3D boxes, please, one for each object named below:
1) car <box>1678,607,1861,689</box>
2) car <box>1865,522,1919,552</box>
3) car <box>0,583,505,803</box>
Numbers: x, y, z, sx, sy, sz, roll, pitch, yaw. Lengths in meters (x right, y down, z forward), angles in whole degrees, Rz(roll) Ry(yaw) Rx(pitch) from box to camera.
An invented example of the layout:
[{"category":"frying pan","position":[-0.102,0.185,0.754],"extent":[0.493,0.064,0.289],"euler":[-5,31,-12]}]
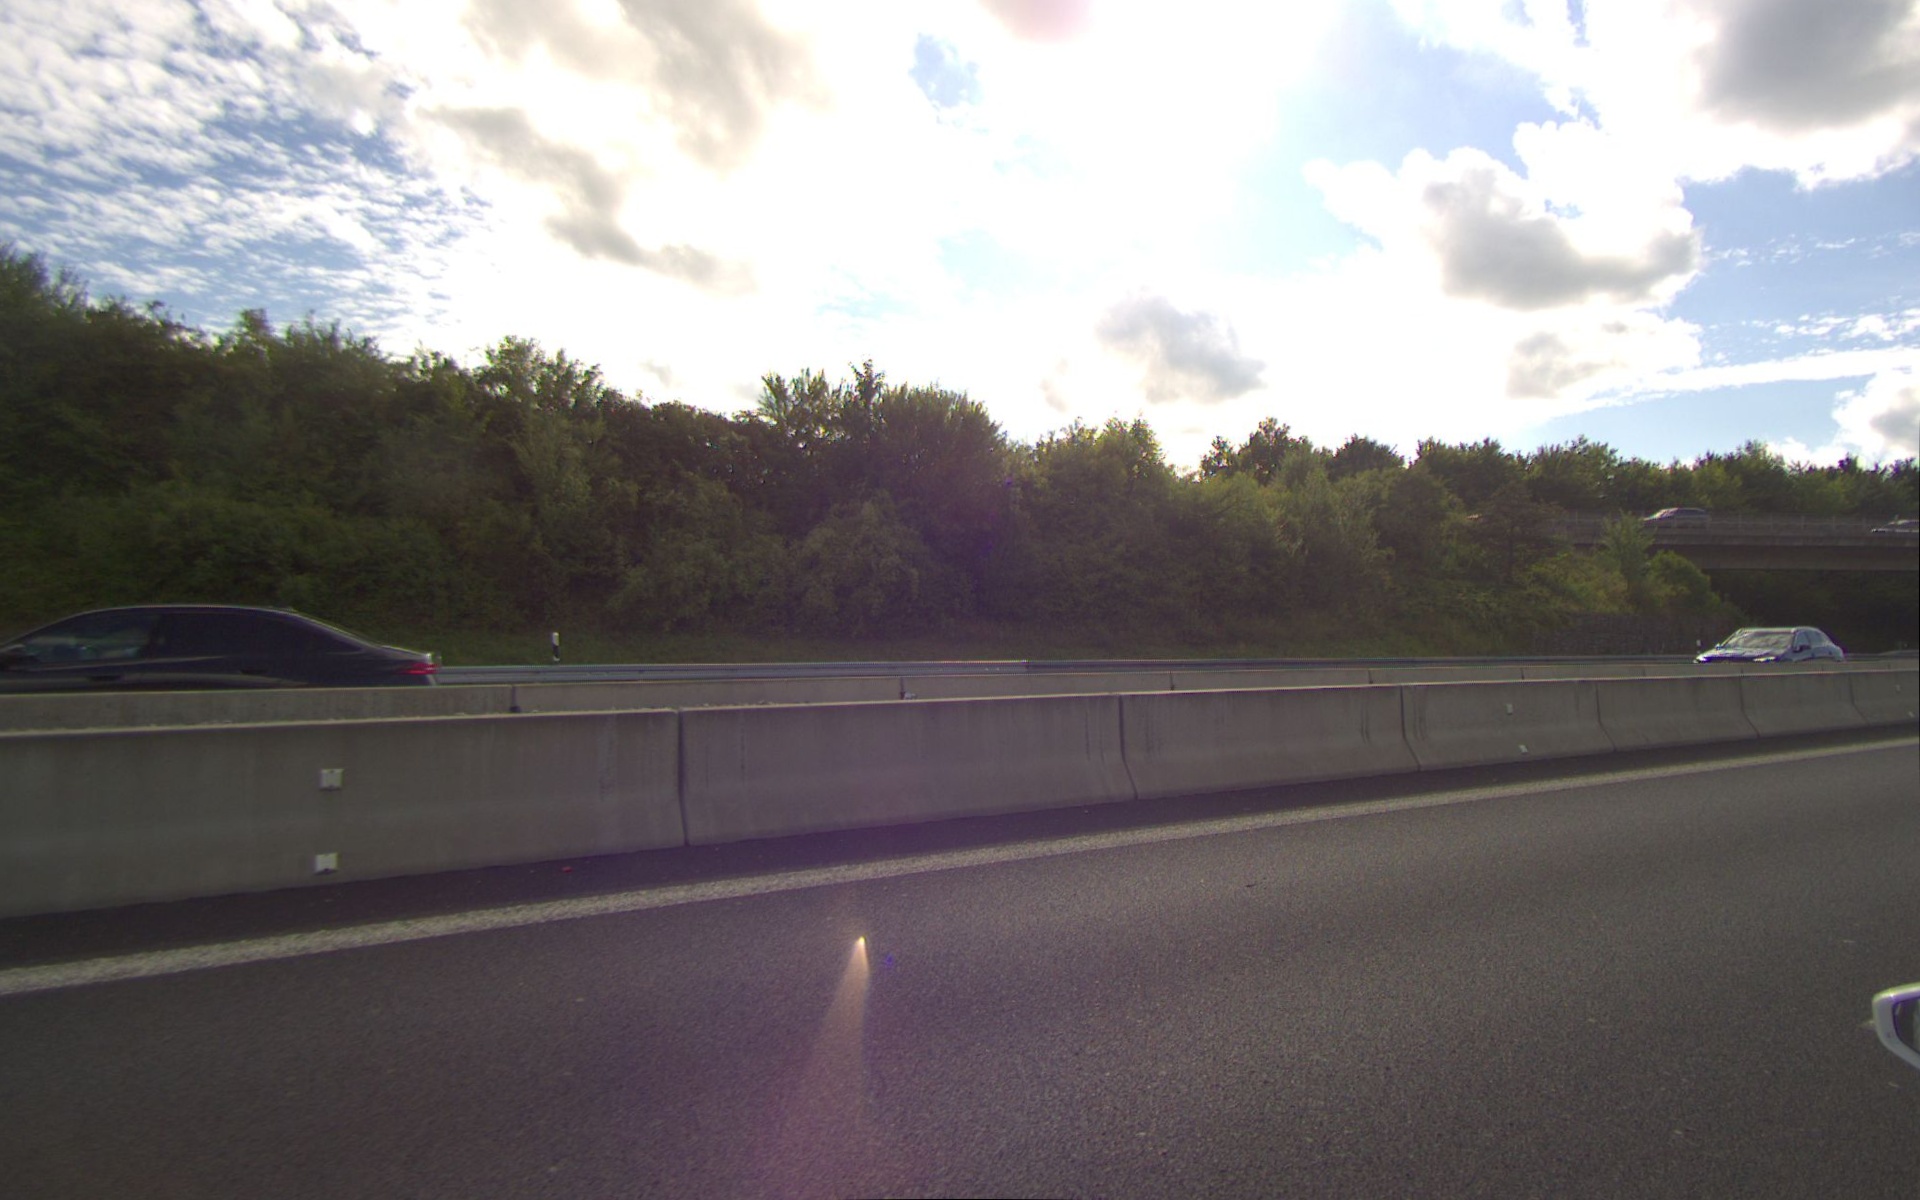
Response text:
[{"category":"car","position":[20.830,1.227,25.804],"extent":[5.080,1.921,1.984],"euler":[2,-2,-30]},{"category":"car","position":[70.977,-4.710,75.468],"extent":[4.738,1.921,1.996],"euler":[1,-2,-13]},{"category":"car","position":[-6.984,0.762,8.979],"extent":[5.135,1.670,1.984],"euler":[2,-2,-30]}]
